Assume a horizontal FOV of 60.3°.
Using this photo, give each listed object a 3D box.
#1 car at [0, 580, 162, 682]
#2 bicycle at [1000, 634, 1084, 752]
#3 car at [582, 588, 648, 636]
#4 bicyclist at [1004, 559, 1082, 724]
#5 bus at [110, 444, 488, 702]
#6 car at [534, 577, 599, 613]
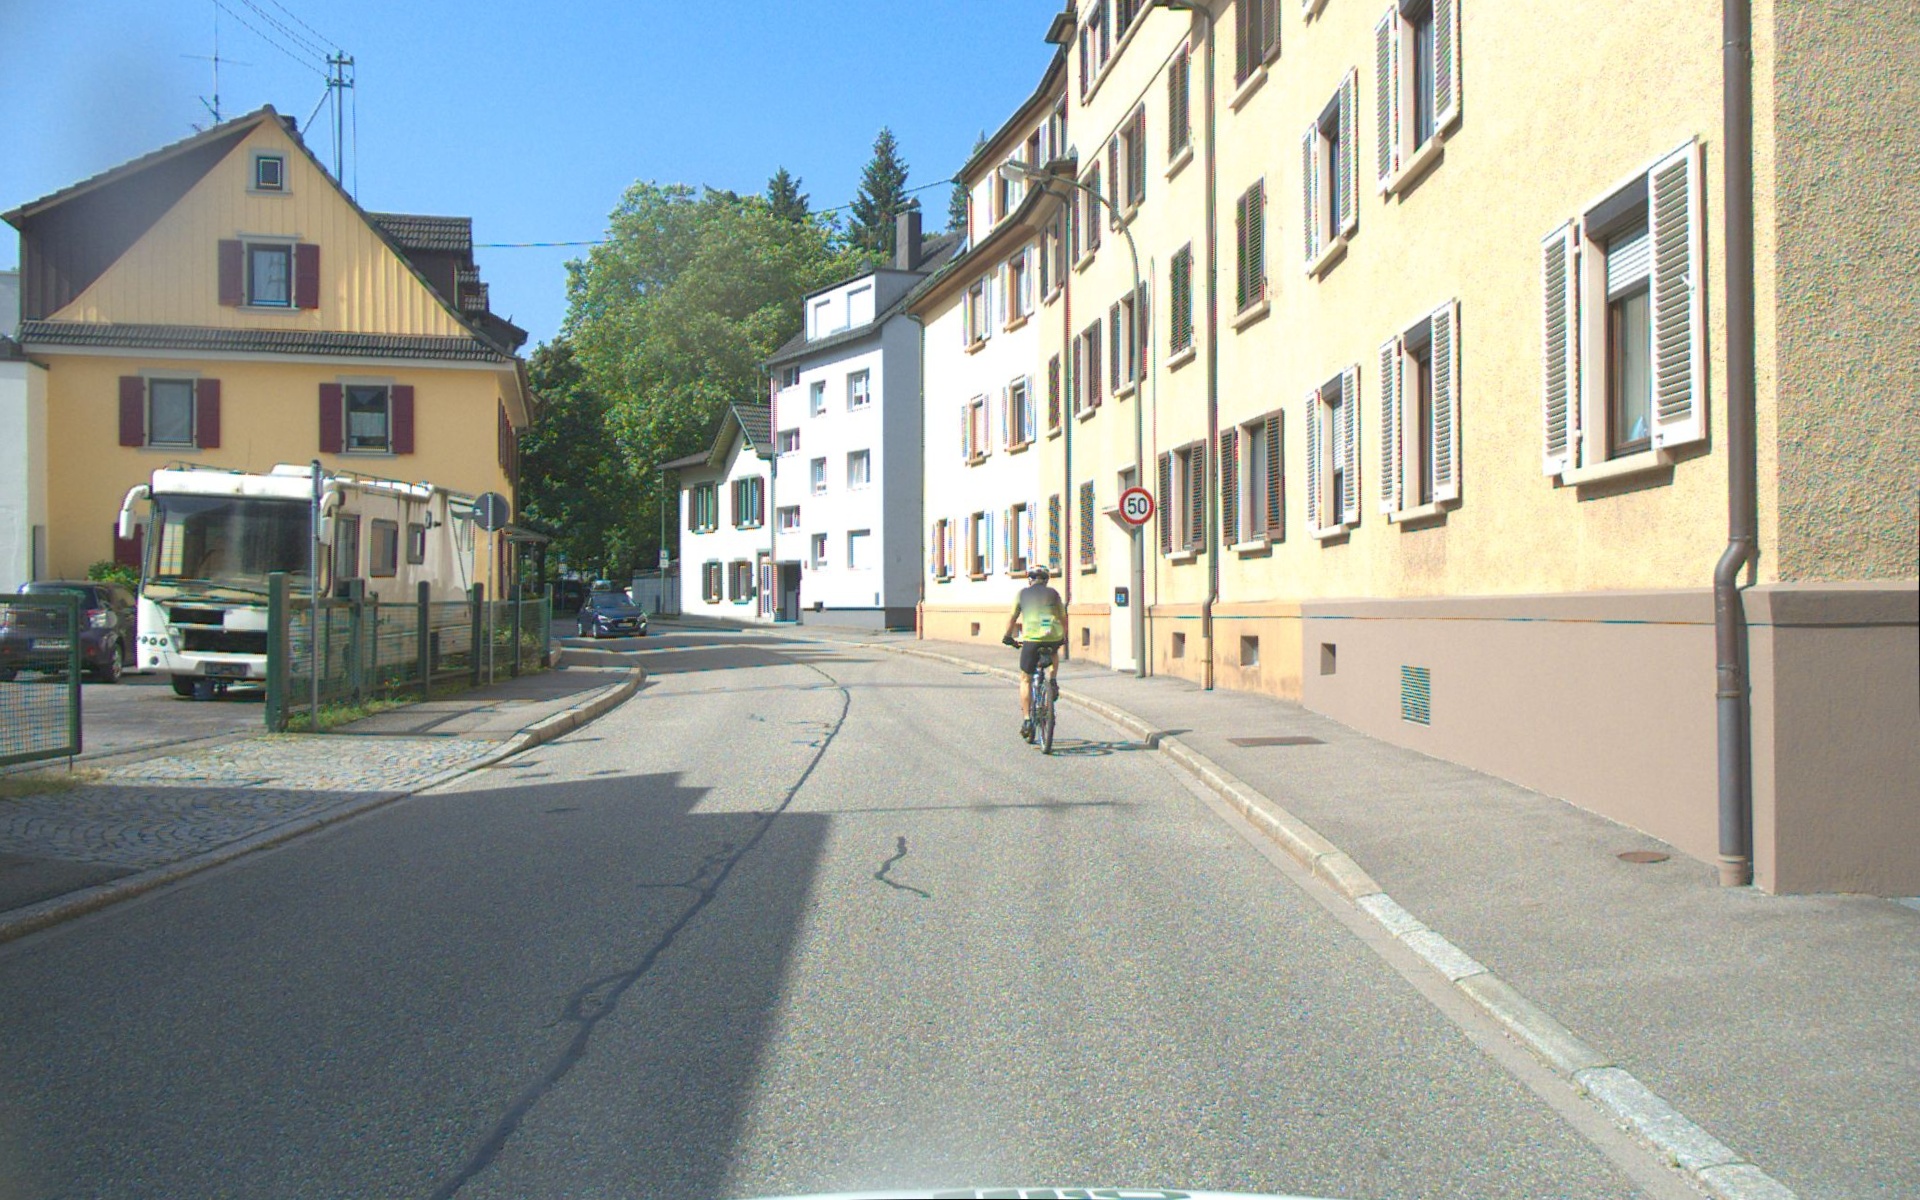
[{"bbox_3d":[-13.727,0.454,25.866,1.739,1.457,3.978,1,0,-19],"label":"car"},{"bbox_3d":[0.779,0.877,16.055,0.684,1.053,1.470,0,0,-2],"label":"bicycle"},{"bbox_3d":[-11.954,0.385,57.144,1.721,1.478,4.006,-4,1,-18],"label":"car"},{"bbox_3d":[0.801,0.395,16.060,0.672,1.558,0.715,-1,0,-2],"label":"bicyclist"},{"bbox_3d":[-9.853,-0.366,25.975,2.764,3.284,9.029,1,0,-4],"label":"bus"},{"bbox_3d":[-21.112,-0.294,88.737,1.812,1.822,3.941,-2,2,-41],"label":"car"}]
